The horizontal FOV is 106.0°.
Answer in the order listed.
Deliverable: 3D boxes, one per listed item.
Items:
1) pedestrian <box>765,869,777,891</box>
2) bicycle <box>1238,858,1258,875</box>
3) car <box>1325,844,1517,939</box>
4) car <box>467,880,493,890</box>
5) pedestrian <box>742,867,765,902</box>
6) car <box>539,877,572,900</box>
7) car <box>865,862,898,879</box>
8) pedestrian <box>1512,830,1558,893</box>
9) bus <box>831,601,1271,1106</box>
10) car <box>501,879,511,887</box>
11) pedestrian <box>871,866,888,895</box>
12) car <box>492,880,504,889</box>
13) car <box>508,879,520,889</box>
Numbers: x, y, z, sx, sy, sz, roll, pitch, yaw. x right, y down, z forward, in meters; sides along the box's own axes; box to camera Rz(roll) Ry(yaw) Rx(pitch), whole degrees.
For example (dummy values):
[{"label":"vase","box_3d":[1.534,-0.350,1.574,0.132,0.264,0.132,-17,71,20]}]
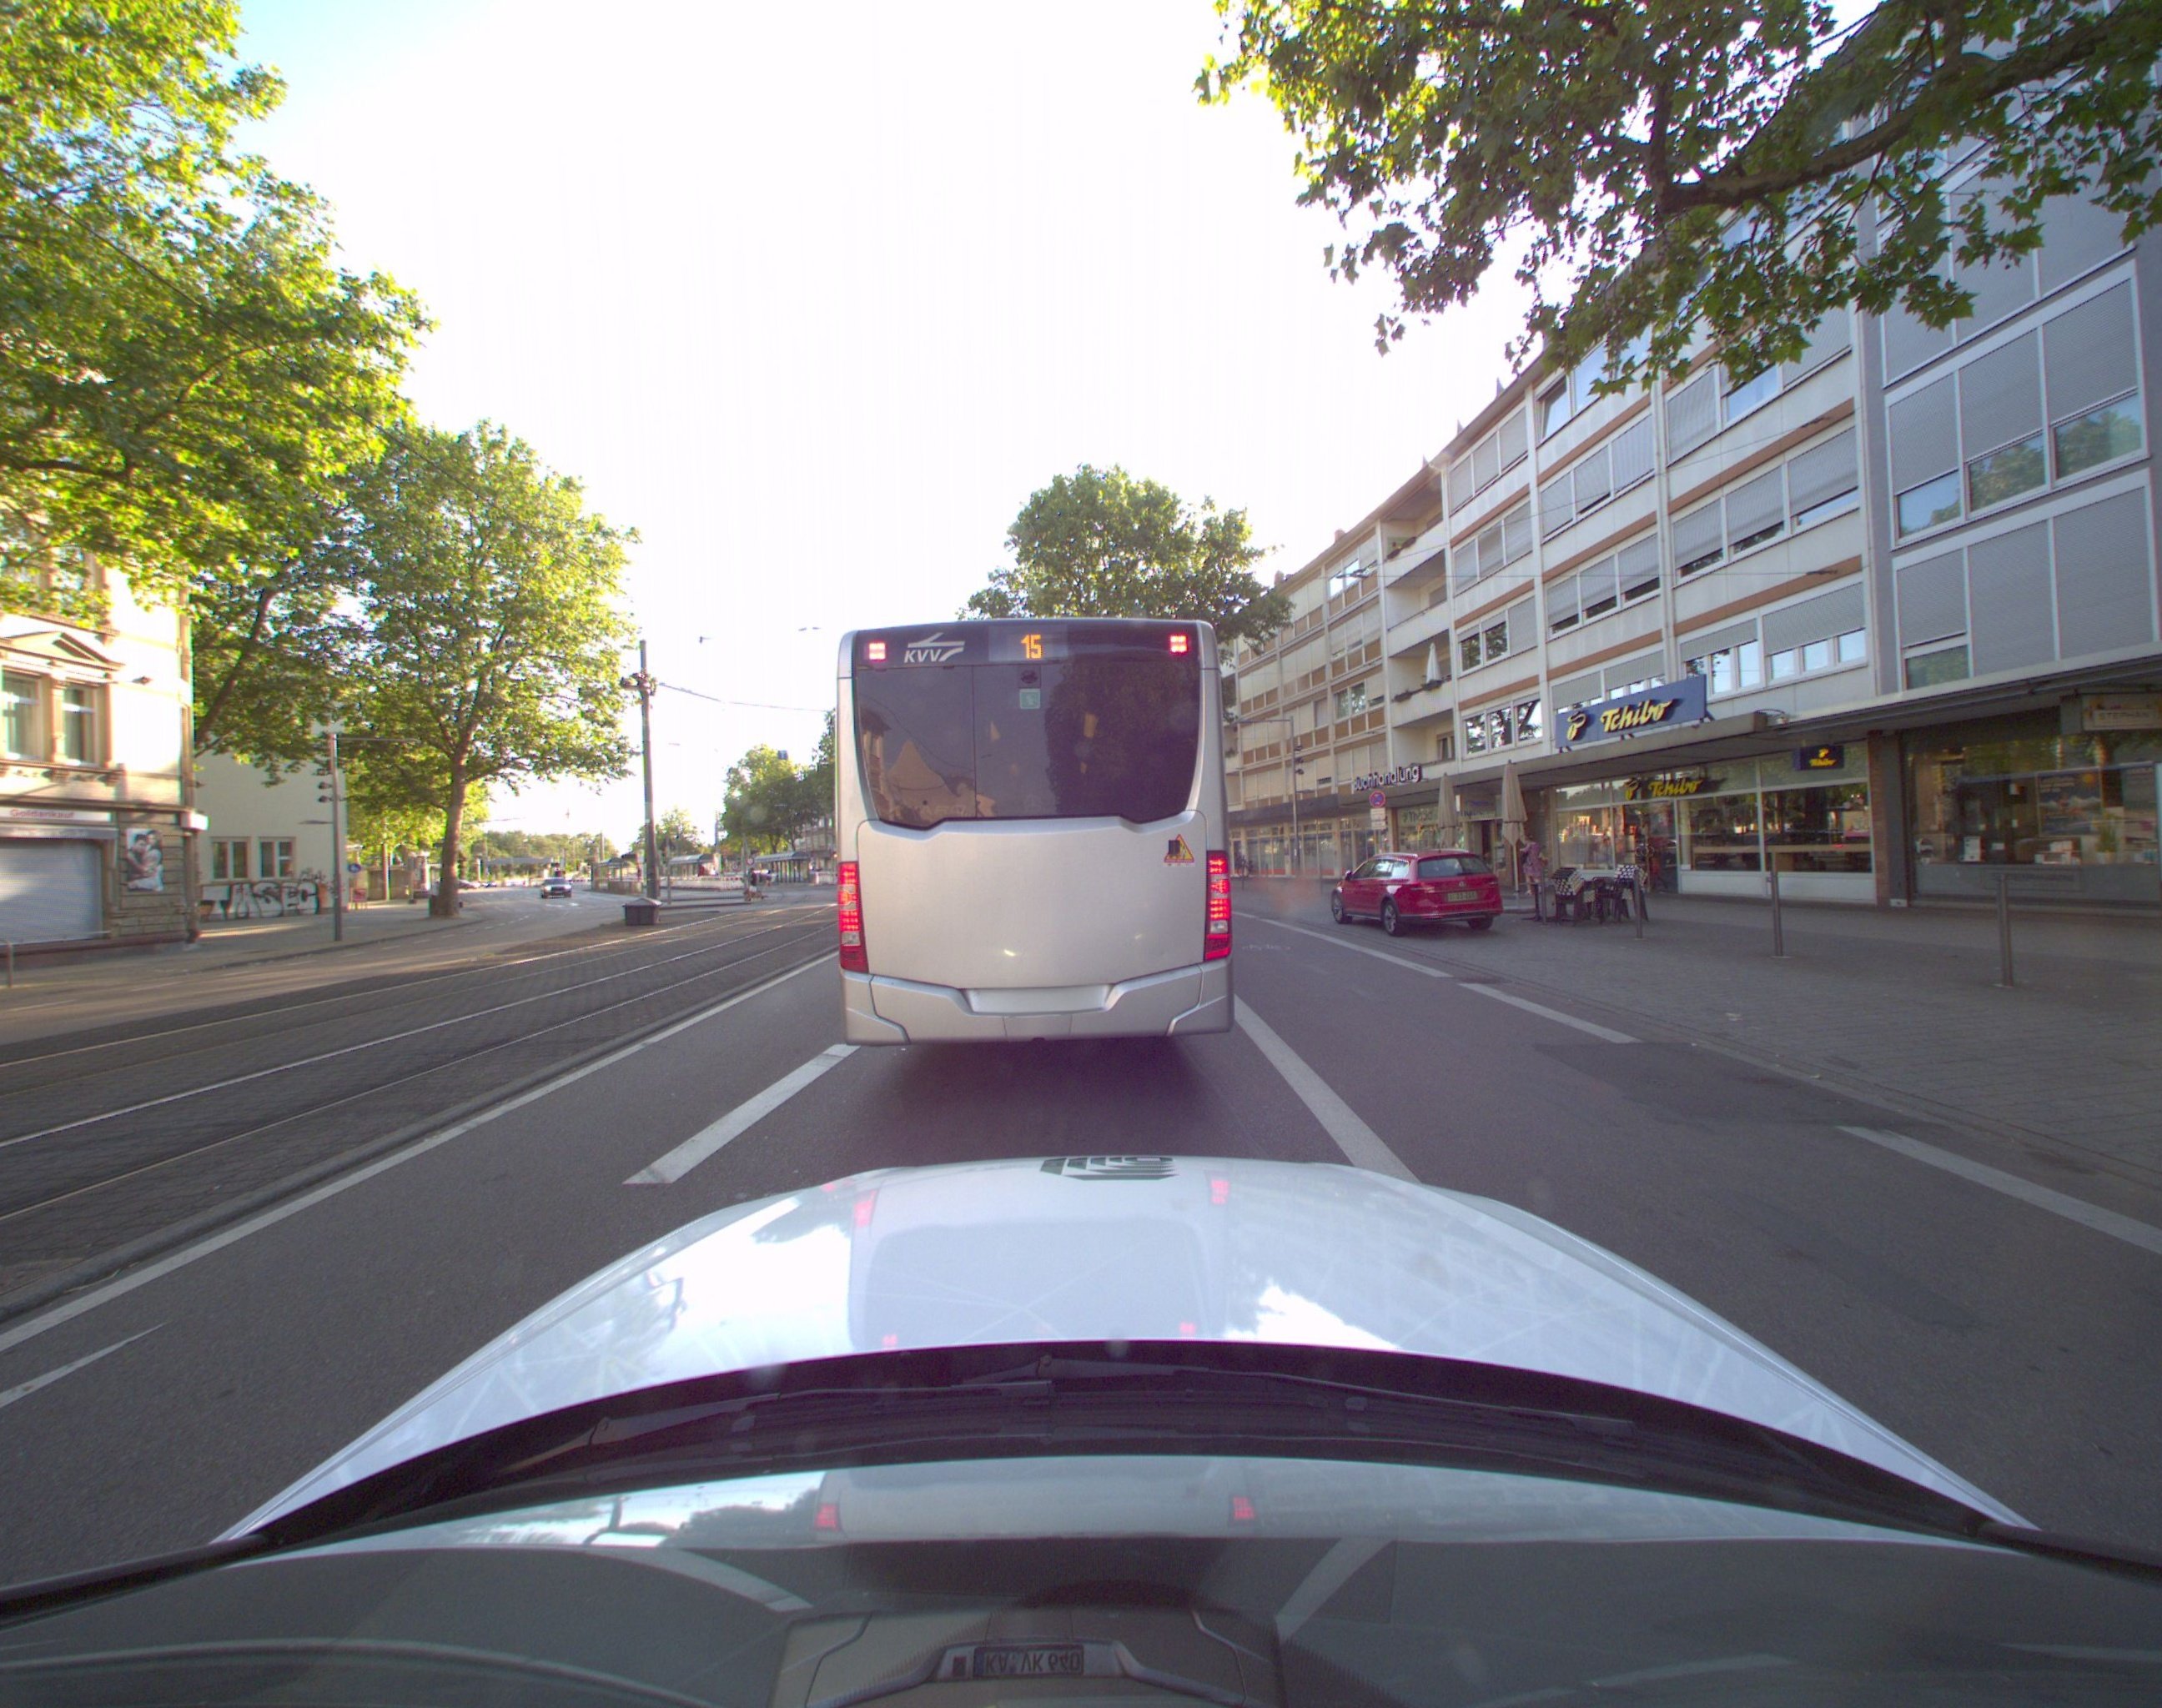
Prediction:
[{"label":"pedestrian","box_3d":[-23.849,1.977,62.659,0.661,1.656,0.438,-2,-1,-41]},{"label":"bicycle","box_3d":[9.321,0.716,45.512,0.413,0.945,1.431,-2,-1,-18]},{"label":"car","box_3d":[6.359,0.638,15.834,1.765,1.482,4.300,-3,0,-2]},{"label":"car","box_3d":[-122.654,6.315,166.150,1.768,1.640,4.024,-3,-1,44]},{"label":"pedestrian","box_3d":[-16.521,1.523,41.056,0.893,1.728,0.518,-2,-1,3]},{"label":"car","box_3d":[-40.049,2.607,62.078,2.008,1.640,3.958,-2,-1,-33]},{"label":"car","box_3d":[-21.794,1.808,88.891,2.010,1.792,3.954,0,-1,-39]},{"label":"pedestrian","box_3d":[11.949,0.191,21.455,0.649,1.592,0.788,-4,-1,-4]},{"label":"bus","box_3d":[-0.166,0.015,9.951,2.622,3.028,9.995,-1,0,0]},{"label":"car","box_3d":[-130.078,6.464,184.206,1.858,1.684,3.676,-2,-1,-35]},{"label":"pedestrian","box_3d":[-10.332,1.368,41.854,0.767,1.450,0.636,0,-1,-8]},{"label":"car","box_3d":[-117.815,6.078,164.687,1.858,1.684,3.676,-2,-1,-35]},{"label":"car","box_3d":[-111.434,5.890,160.026,1.858,1.684,3.677,-4,1,-35]}]
